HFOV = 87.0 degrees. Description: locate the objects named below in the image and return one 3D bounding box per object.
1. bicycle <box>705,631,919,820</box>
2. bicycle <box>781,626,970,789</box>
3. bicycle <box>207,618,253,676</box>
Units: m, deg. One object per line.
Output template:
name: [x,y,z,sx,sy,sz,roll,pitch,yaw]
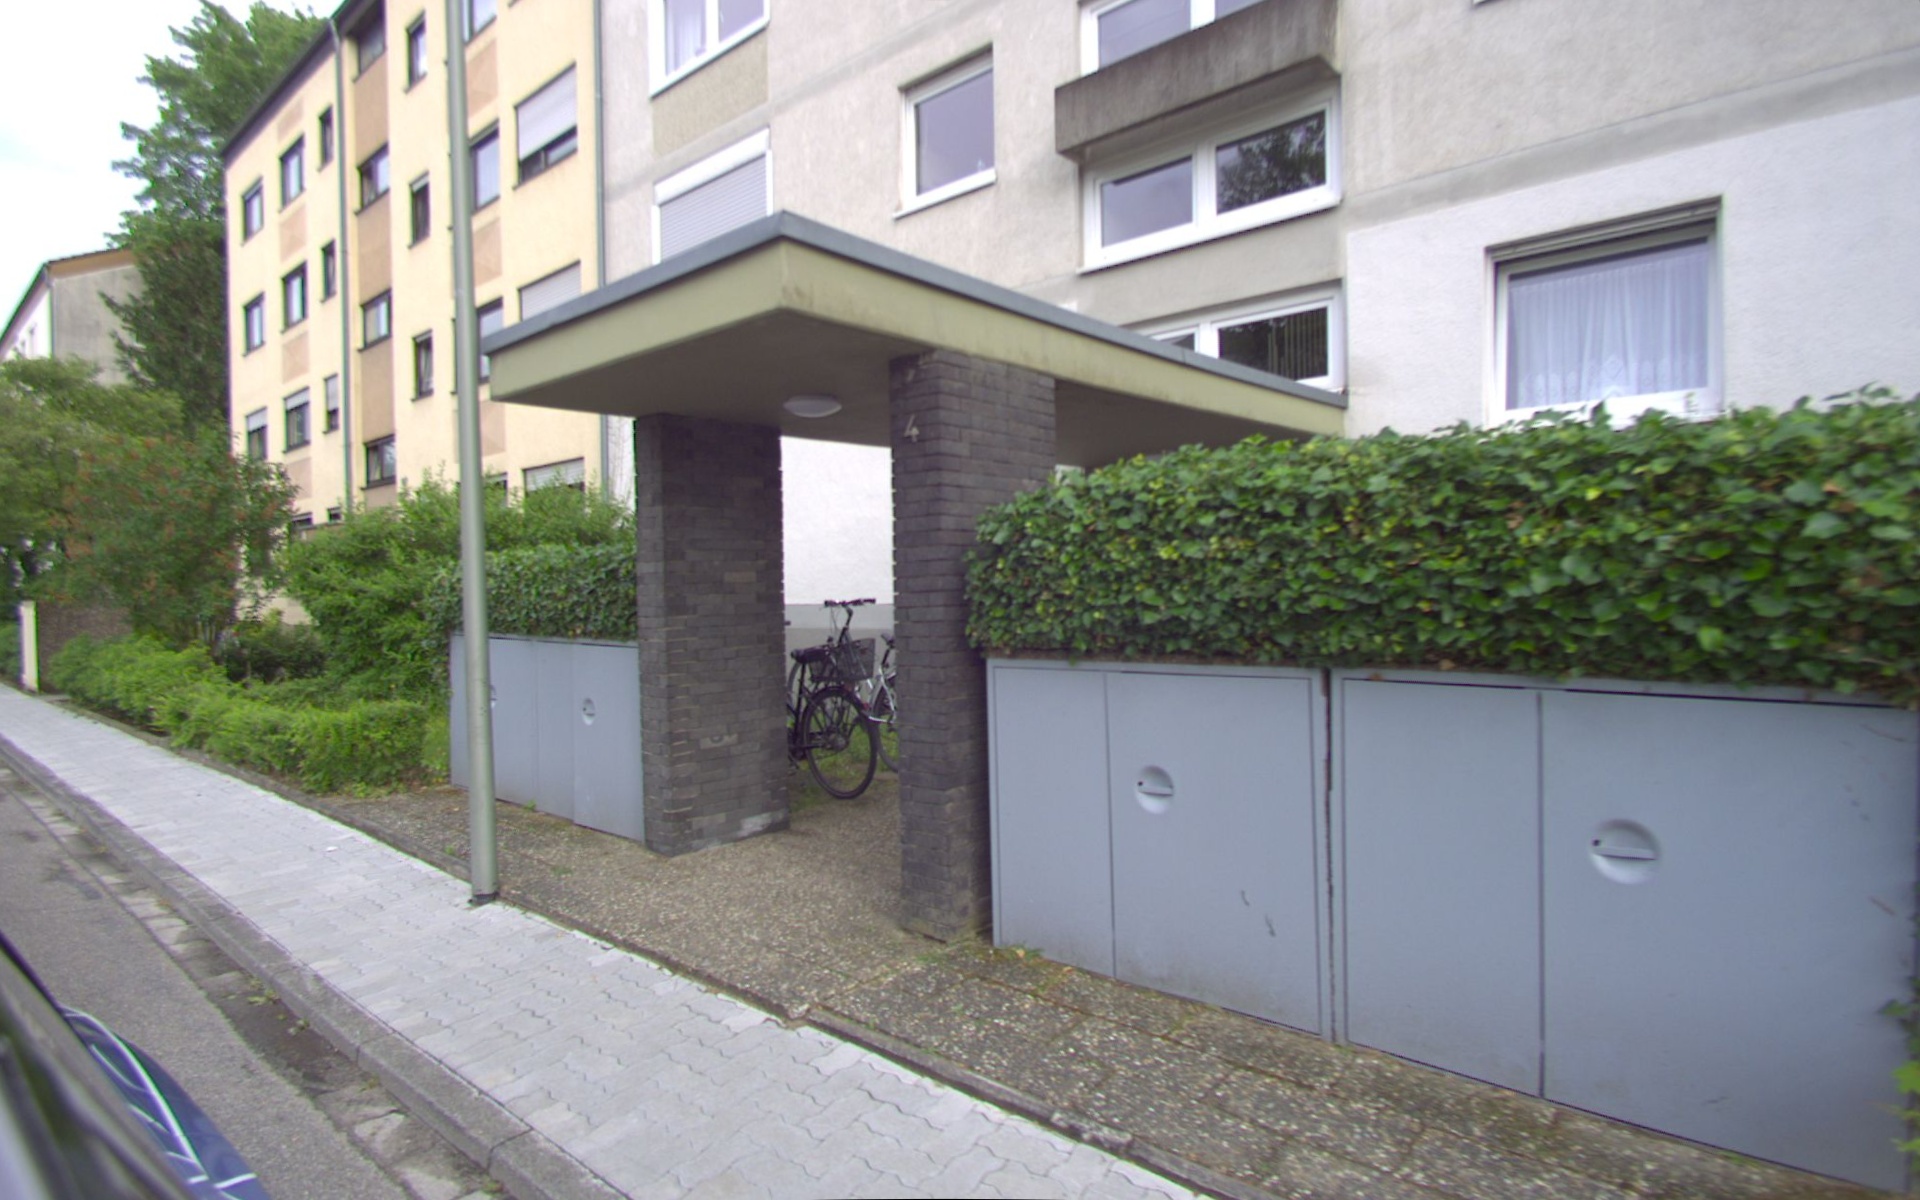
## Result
bicycle: [-0.990,0.743,6.508,1.546,1.042,0.449,-1,2,43]
bicycle: [-0.642,0.721,7.292,1.546,1.042,0.369,-1,2,43]
bicycle: [-13.864,0.898,19.208,1.690,1.059,0.311,-3,-2,40]
